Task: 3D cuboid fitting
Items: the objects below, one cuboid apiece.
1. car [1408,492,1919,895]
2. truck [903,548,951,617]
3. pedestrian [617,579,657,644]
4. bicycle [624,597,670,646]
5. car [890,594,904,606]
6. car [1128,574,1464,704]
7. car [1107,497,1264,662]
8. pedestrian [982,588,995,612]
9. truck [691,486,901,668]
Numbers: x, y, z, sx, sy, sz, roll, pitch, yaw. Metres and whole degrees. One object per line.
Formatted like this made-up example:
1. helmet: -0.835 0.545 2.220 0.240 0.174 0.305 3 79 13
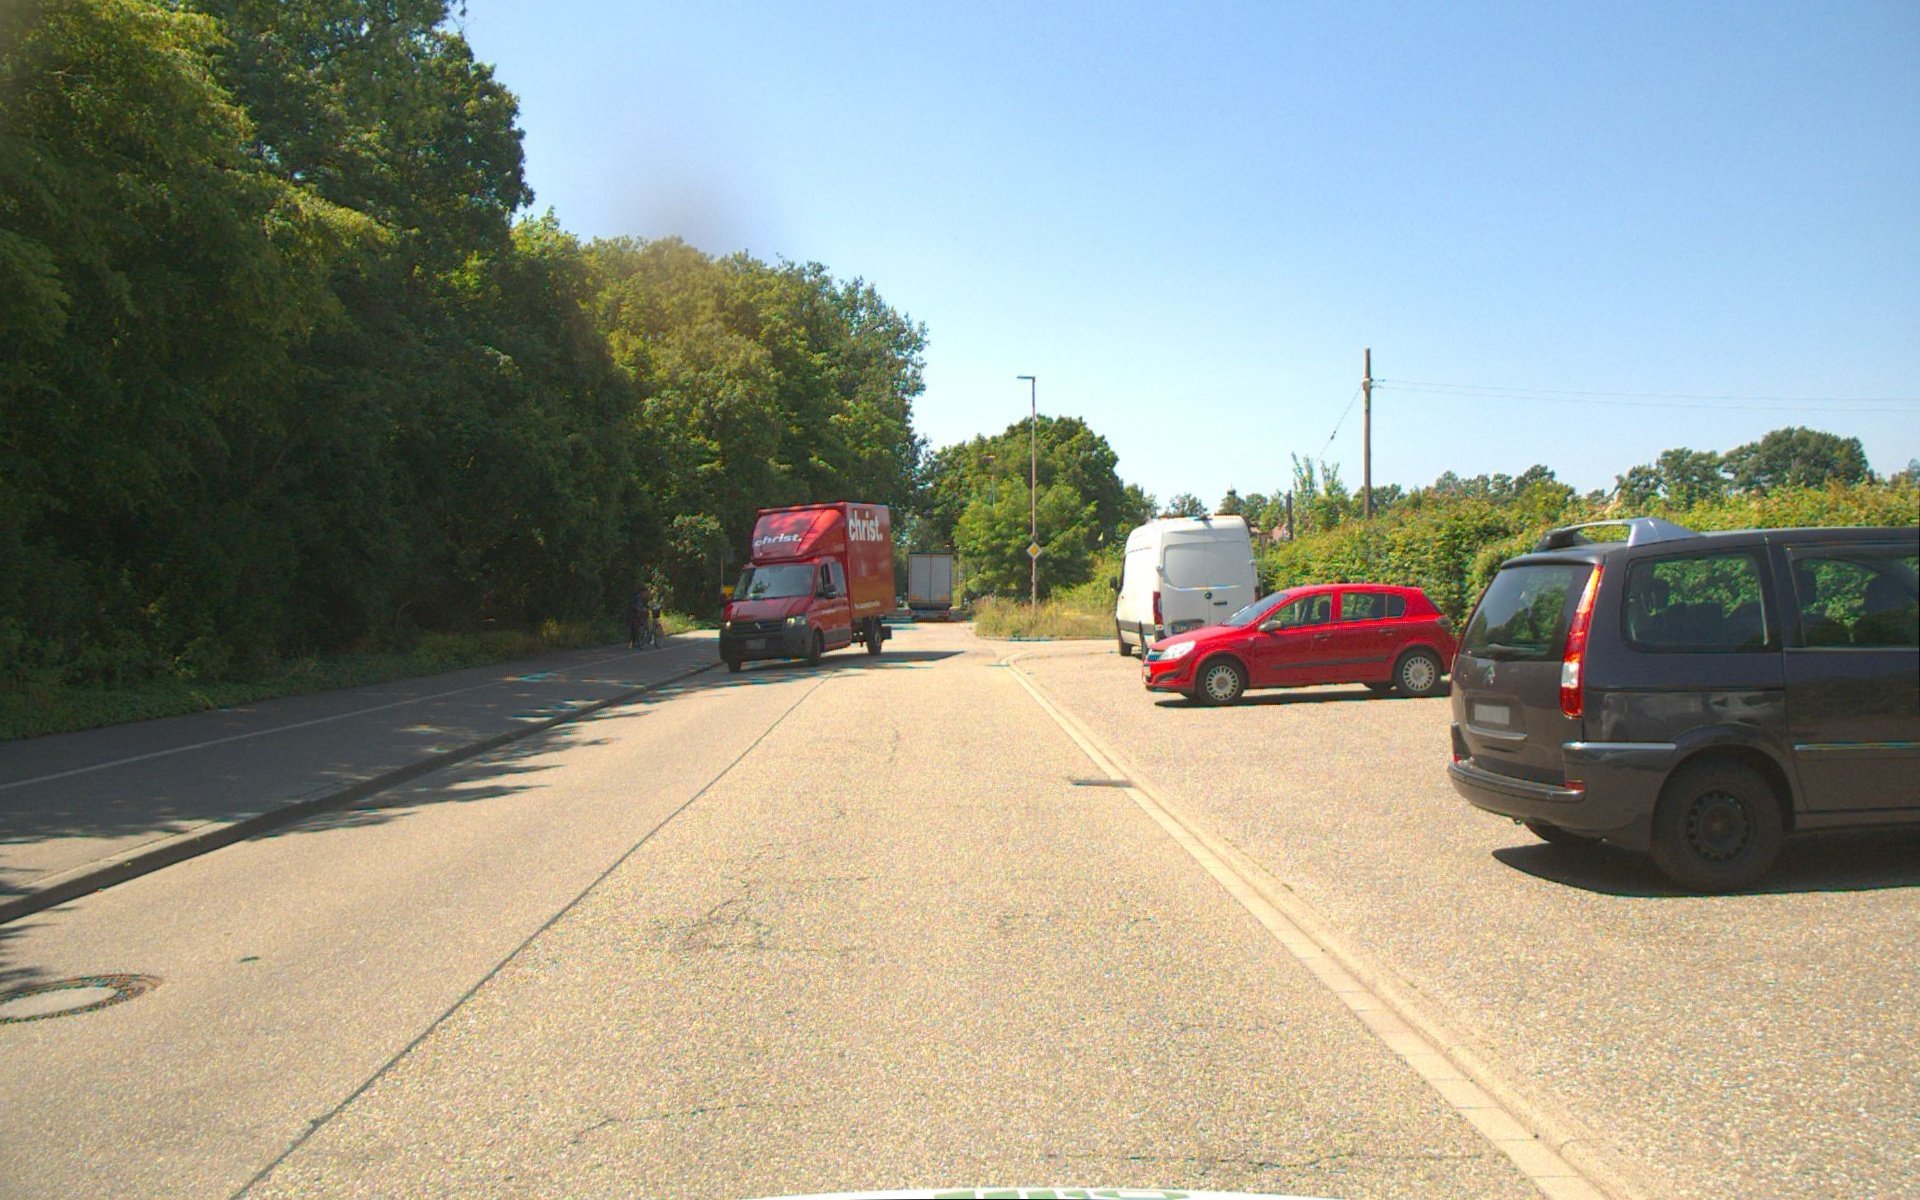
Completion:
1. car: 4.956 0.383 9.064 4.367 1.836 1.950 -3 0 -6
2. truck: -1.929 -0.982 99.118 2.678 3.811 13.243 1 0 -1
3. pedestrian: -8.718 0.300 44.654 0.791 1.748 0.777 0 0 14
4. bicycle: -8.425 0.575 44.545 0.510 1.258 1.962 1 0 10
5. car: -9.411 0.027 247.406 1.953 1.713 4.261 -1 0 -1
6. car: 4.373 0.485 21.917 3.975 1.459 1.834 -3 0 -5
7. car: 4.245 -0.389 32.396 1.914 2.781 7.166 -3 1 -1
8. pedestrian: 2.097 -0.013 120.789 0.846 1.706 0.885 -1 0 -3
9. truck: -3.401 -0.516 36.422 2.273 3.500 7.167 -3 0 13
